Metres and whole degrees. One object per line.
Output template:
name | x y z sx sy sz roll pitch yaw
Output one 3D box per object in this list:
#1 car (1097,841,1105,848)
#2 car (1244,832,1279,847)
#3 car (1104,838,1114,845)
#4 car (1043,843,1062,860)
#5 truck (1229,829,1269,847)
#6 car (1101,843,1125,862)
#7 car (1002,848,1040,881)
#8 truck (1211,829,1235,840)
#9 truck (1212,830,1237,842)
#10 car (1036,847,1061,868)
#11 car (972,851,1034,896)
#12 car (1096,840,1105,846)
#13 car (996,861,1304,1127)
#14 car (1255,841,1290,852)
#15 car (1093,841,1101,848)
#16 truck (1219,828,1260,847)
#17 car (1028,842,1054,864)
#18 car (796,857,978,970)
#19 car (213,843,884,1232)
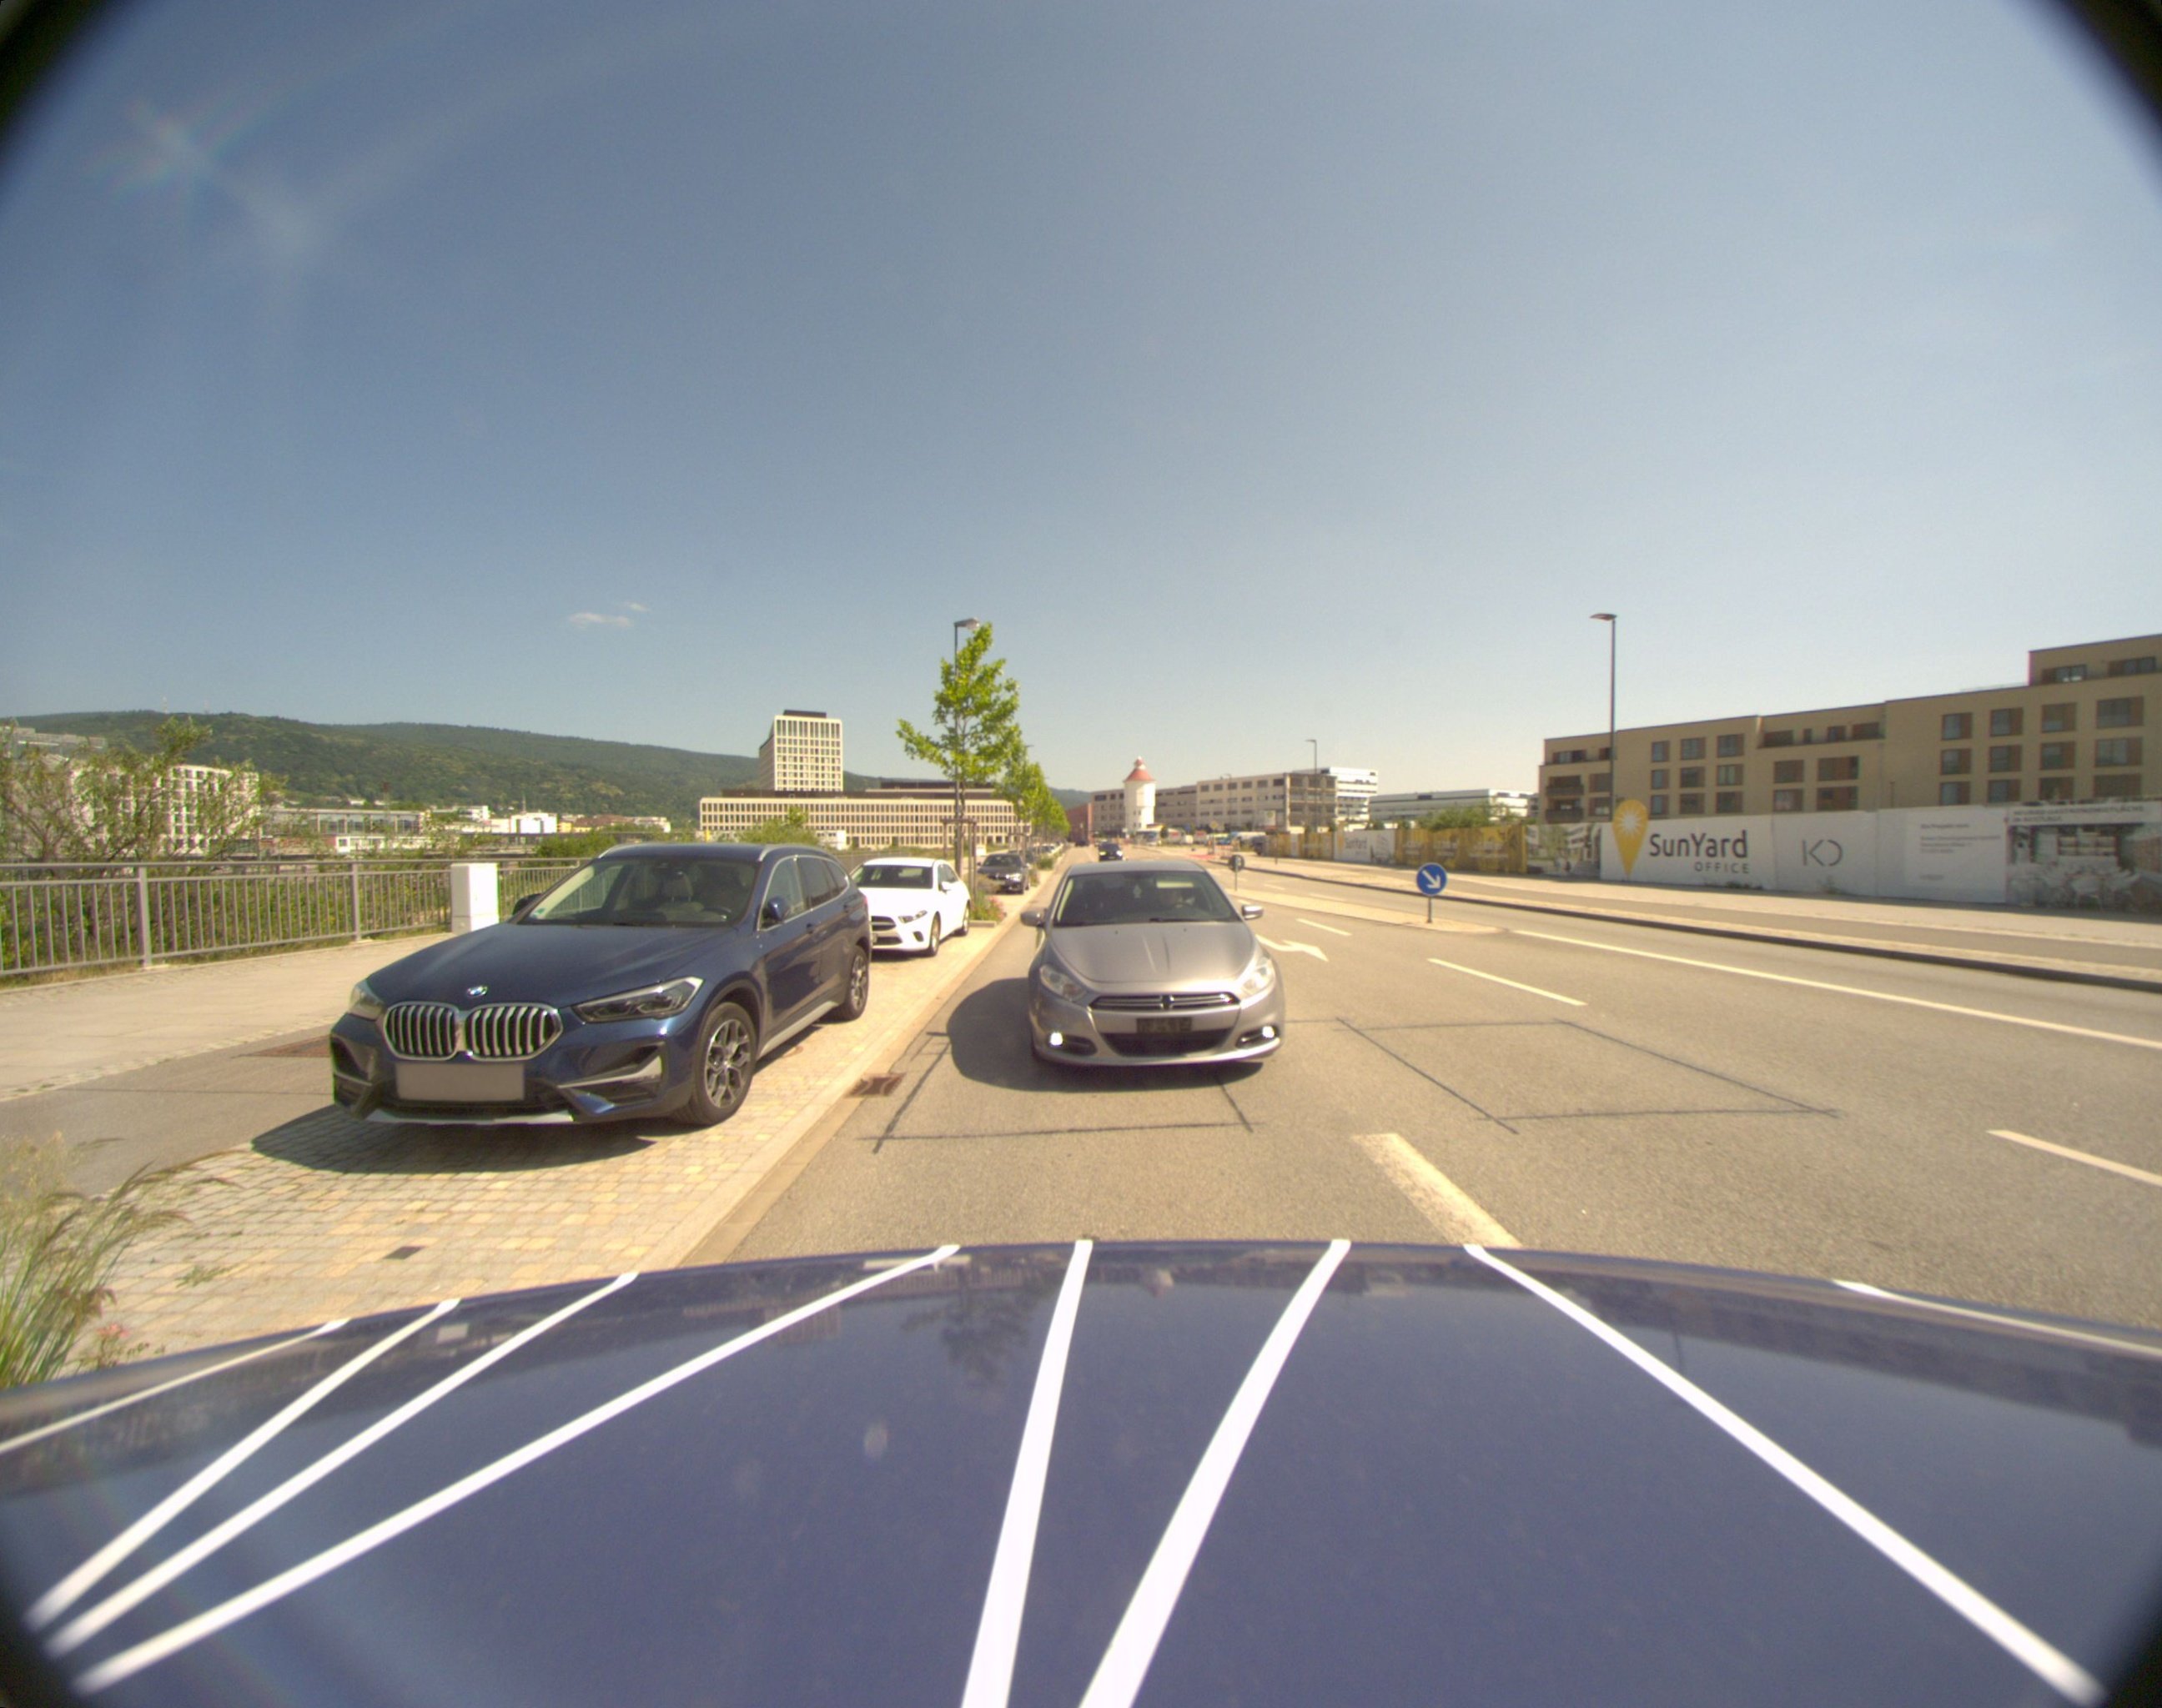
car | 4.730 -2.249 180.296 1.819 1.458 3.876 -1 1 2
car | 22.905 -1.860 96.549 3.930 1.708 1.891 -3 1 -5
car | 5.975 -2.628 162.270 1.820 1.458 4.346 -1 1 1
car | -2.653 -0.272 70.426 1.526 1.482 3.504 -3 1 0
truck | 23.426 -2.248 105.916 5.005 2.215 1.999 -2 1 -1
car | 2.635 -0.146 62.091 1.819 1.458 4.347 -3 1 2
car | -2.948 0.488 37.800 1.569 1.465 3.006 2 1 0
truck | 34.606 -4.681 185.462 5.412 2.461 1.999 -2 1 -2
truck | 33.395 -4.163 177.304 5.333 2.461 1.999 -3 1 -4
car | -2.152 0.234 50.670 1.490 1.302 3.154 2 1 0
car | -2.793 0.666 27.915 1.808 1.424 3.915 2 1 0
car | 4.373 -2.478 169.624 1.820 1.458 3.912 -1 1 1
car | 0.453 0.871 6.757 1.820 1.458 4.346 -2 1 1
car | 19.661 -0.751 78.078 3.359 0.947 1.293 -2 1 3
car | 4.067 -2.470 191.633 1.820 1.729 4.345 -1 2 1
truck | 23.638 -2.443 113.253 5.633 2.461 1.999 -3 1 -4
car | -3.180 -0.120 61.167 1.768 1.609 3.373 -3 1 0
car | -2.921 0.815 12.430 1.710 1.366 4.270 2 1 2
car | -2.885 0.785 5.473 1.808 1.674 4.270 1 1 0
